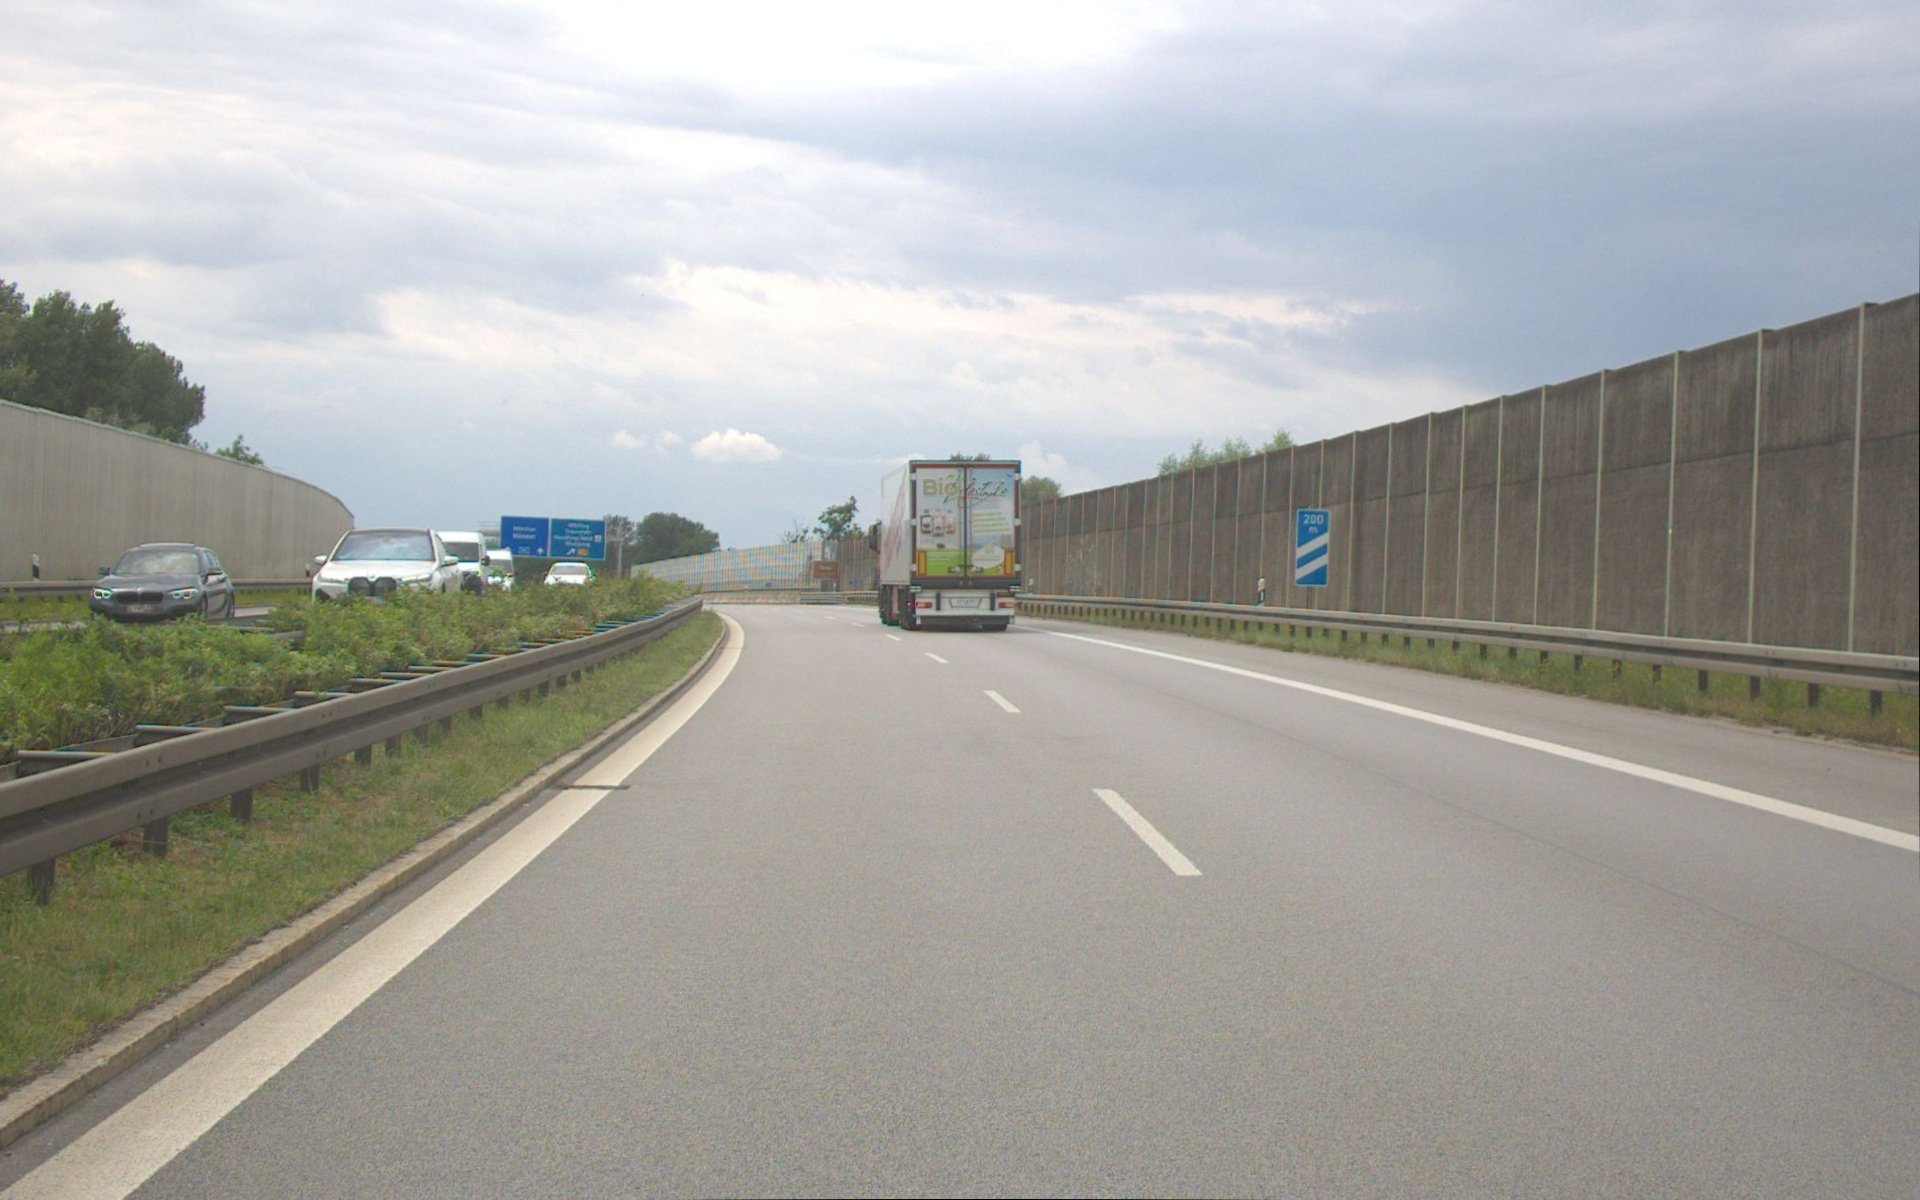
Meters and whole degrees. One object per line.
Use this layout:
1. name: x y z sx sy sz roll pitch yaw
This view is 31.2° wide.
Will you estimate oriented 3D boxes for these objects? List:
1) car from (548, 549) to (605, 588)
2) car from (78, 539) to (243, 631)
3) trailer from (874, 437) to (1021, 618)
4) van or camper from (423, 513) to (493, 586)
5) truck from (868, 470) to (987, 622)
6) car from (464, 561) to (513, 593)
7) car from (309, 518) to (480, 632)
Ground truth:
1. car: -14.380 -1.190 129.087 1.805 1.409 4.968 1 1 -3
2. car: -12.707 -0.256 54.852 1.722 1.412 4.555 0 1 -2
3. trailer: -0.467 -1.699 86.829 2.792 4.160 14.105 1 0 -4
4. van or camper: -17.209 -1.731 118.090 1.993 2.433 6.310 0 1 -5
5. truck: -0.927 -1.425 92.957 2.755 3.946 5.678 1 0 -5
6. car: -20.840 -1.044 152.013 1.864 1.398 4.500 0 1 -4
7. car: -8.858 -0.401 54.214 1.964 1.664 4.924 1 1 -2
